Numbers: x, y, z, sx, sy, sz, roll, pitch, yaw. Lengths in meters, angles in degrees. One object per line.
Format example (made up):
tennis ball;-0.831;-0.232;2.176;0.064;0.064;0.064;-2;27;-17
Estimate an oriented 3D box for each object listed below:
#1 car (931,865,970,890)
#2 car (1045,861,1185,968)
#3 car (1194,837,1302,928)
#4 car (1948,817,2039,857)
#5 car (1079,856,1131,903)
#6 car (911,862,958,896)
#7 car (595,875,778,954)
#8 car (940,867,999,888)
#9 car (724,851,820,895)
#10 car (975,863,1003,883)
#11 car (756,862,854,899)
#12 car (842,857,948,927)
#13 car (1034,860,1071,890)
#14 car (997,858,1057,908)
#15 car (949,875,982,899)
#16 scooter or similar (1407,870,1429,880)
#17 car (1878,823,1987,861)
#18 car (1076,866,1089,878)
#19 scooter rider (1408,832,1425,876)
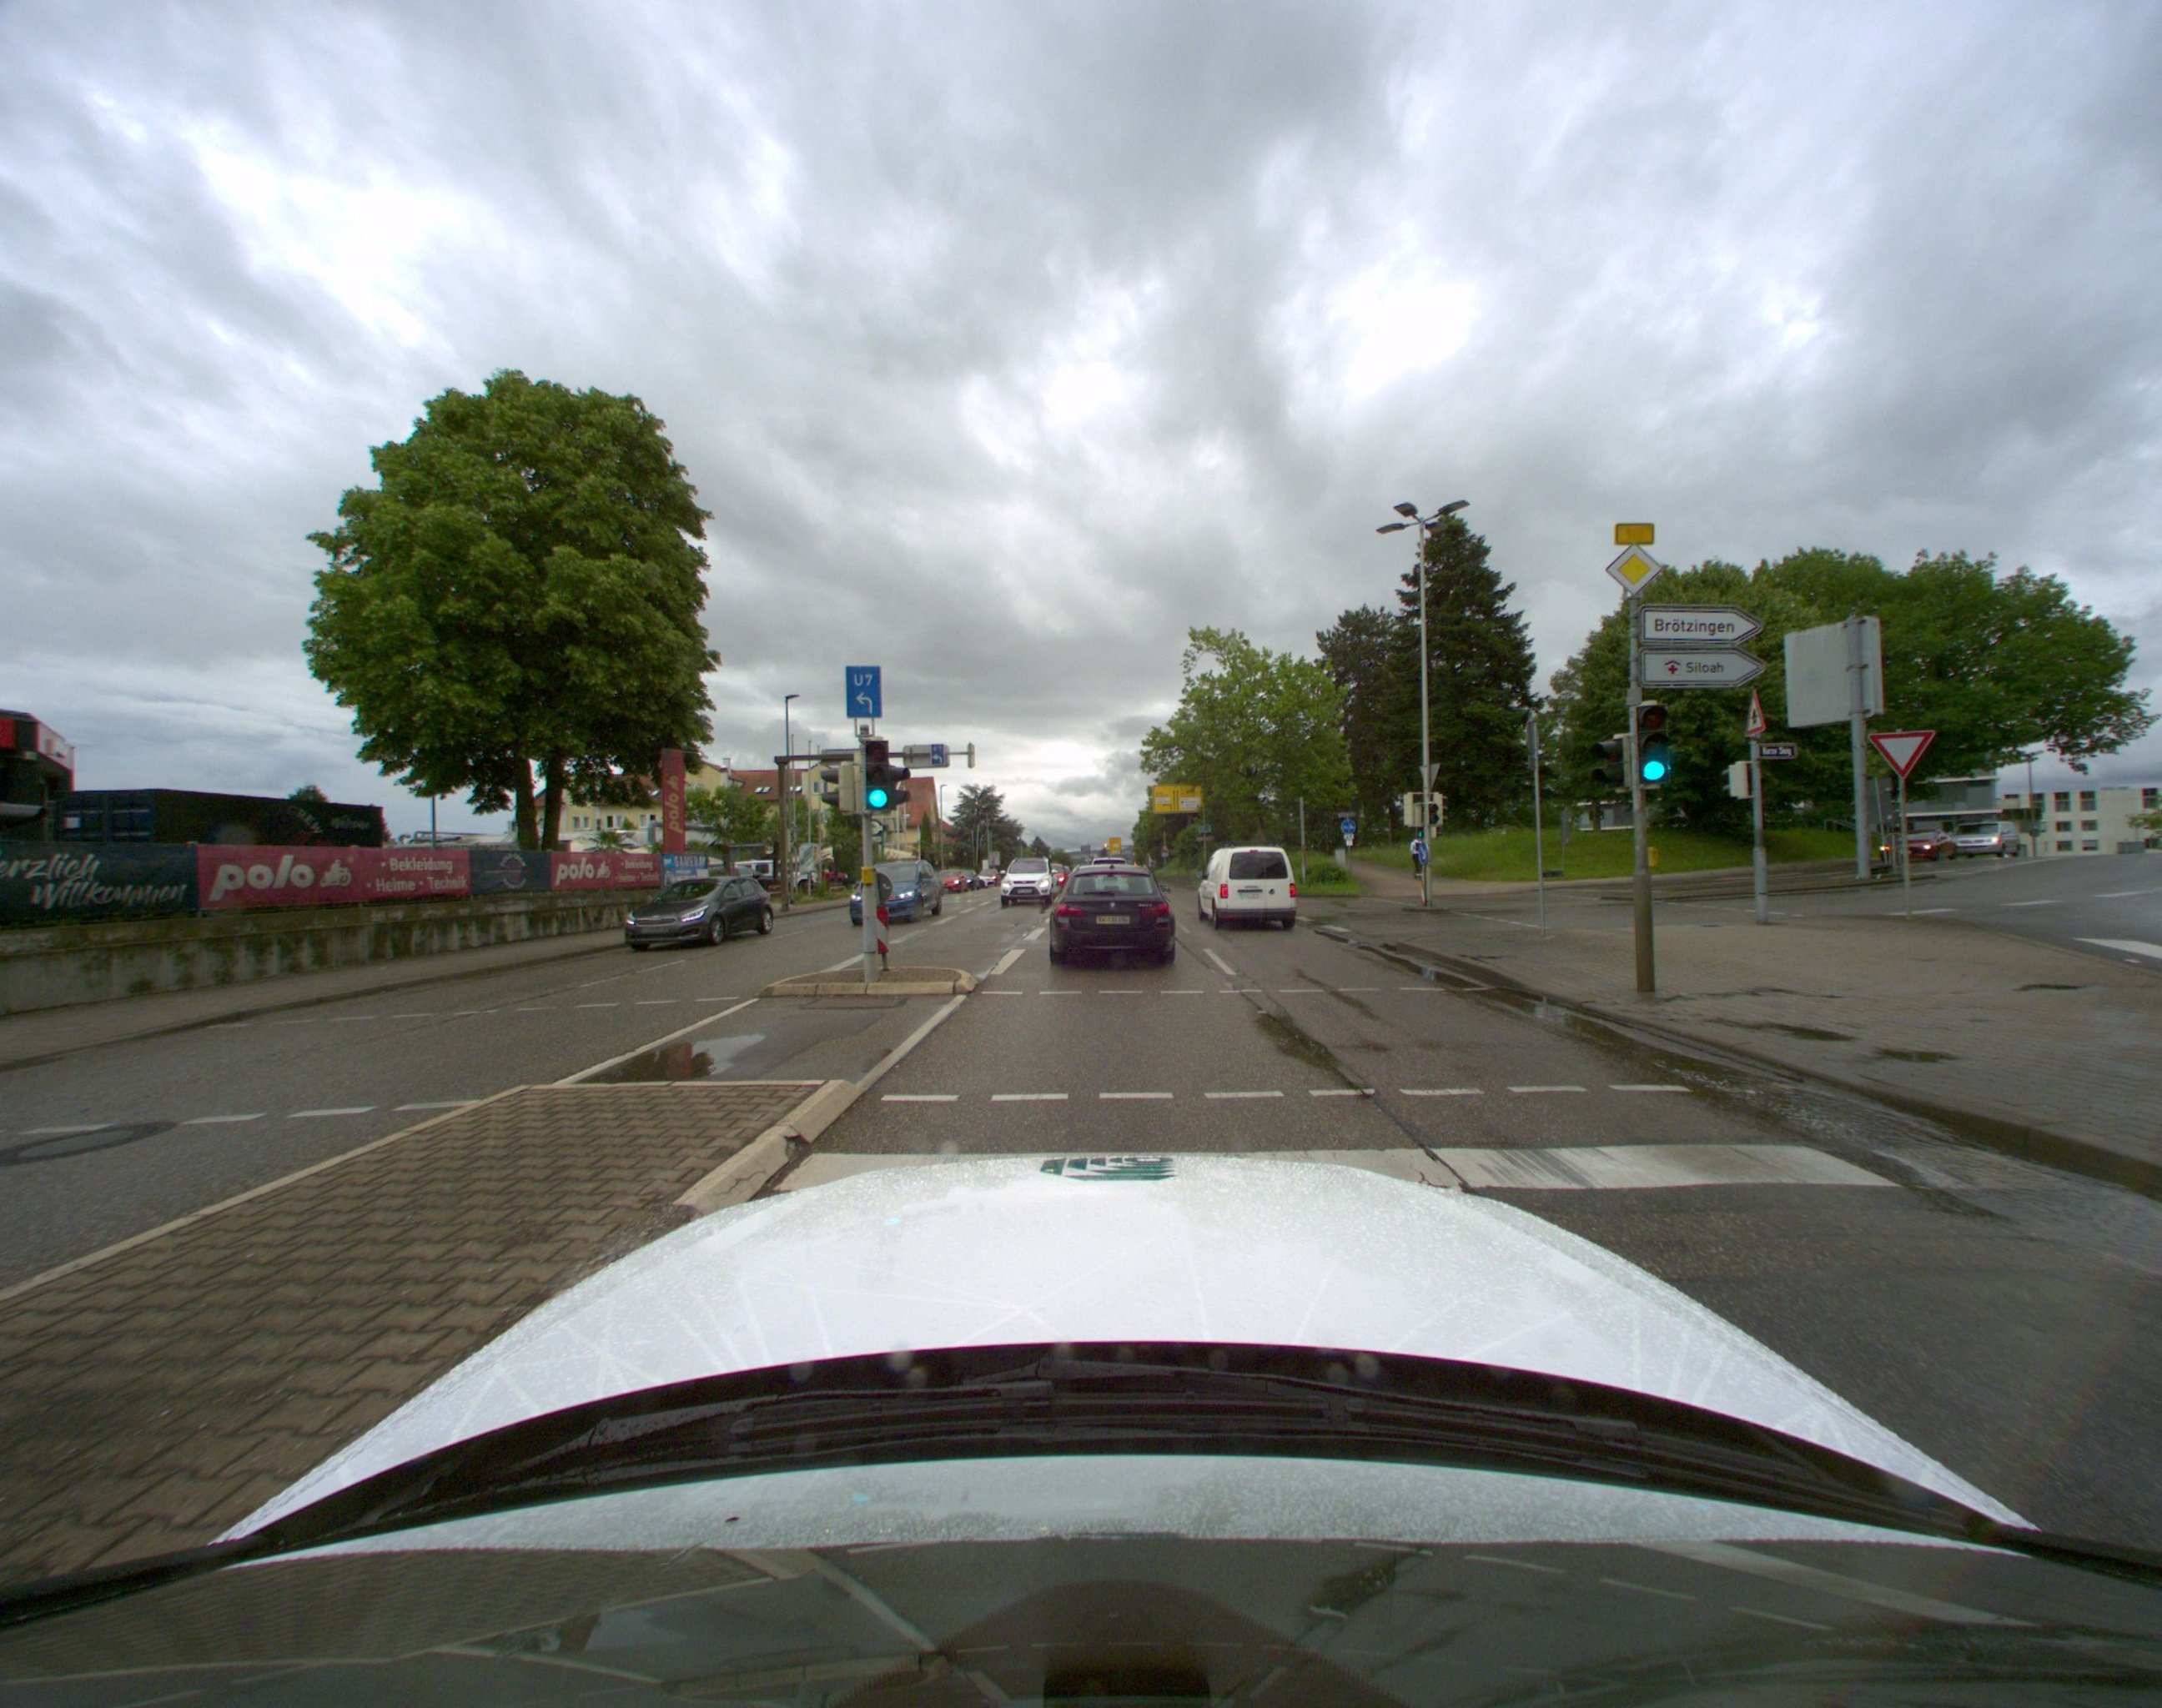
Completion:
car;-7.836;1.408;49.226;1.617;1.332;3.947;-3;0;1
car;0.536;0.865;13.085;1.891;1.442;4.001;-1;-1;2
car;3.734;0.578;18.822;1.758;1.877;3.806;-1;0;1
car;47.832;-0.898;42.688;4.003;1.859;1.839;-3;-2;-22
car;0.938;0.933;31.480;1.861;1.673;4.002;-1;0;2
car;-7.915;1.324;44.287;1.670;1.618;4.001;-3;0;1
car;-8.568;1.249;18.170;1.910;1.379;4.127;-3;0;1
car;-8.442;1.790;61.753;4.006;1.477;1.647;-2;-1;10
car;-16.089;0.963;42.438;4.410;2.013;1.982;-3;0;-27
car;-7.832;1.609;69.627;1.764;1.569;4.001;-1;-1;1
car;-15.672;1.492;46.326;5.024;1.702;1.982;-3;-3;-27
car;-5.064;0.969;22.733;1.833;1.649;4.298;-3;0;1
car;-1.419;1.079;41.388;1.626;1.434;4.144;-1;-2;1
car;-1.909;1.001;30.188;1.833;1.649;4.298;-2;0;1
car;-7.878;2.230;55.872;1.597;1.400;4.404;-3;0;0
scooter or similar;15.017;0.932;36.331;0.485;0.403;1.256;-2;0;1
car;38.467;-0.548;36.793;3.999;1.428;1.841;-3;-2;-19
car;0.239;2.770;126.121;1.861;1.673;4.002;-1;0;2
scooter rider;14.996;-0.001;36.395;0.499;1.965;0.548;-2;0;1
